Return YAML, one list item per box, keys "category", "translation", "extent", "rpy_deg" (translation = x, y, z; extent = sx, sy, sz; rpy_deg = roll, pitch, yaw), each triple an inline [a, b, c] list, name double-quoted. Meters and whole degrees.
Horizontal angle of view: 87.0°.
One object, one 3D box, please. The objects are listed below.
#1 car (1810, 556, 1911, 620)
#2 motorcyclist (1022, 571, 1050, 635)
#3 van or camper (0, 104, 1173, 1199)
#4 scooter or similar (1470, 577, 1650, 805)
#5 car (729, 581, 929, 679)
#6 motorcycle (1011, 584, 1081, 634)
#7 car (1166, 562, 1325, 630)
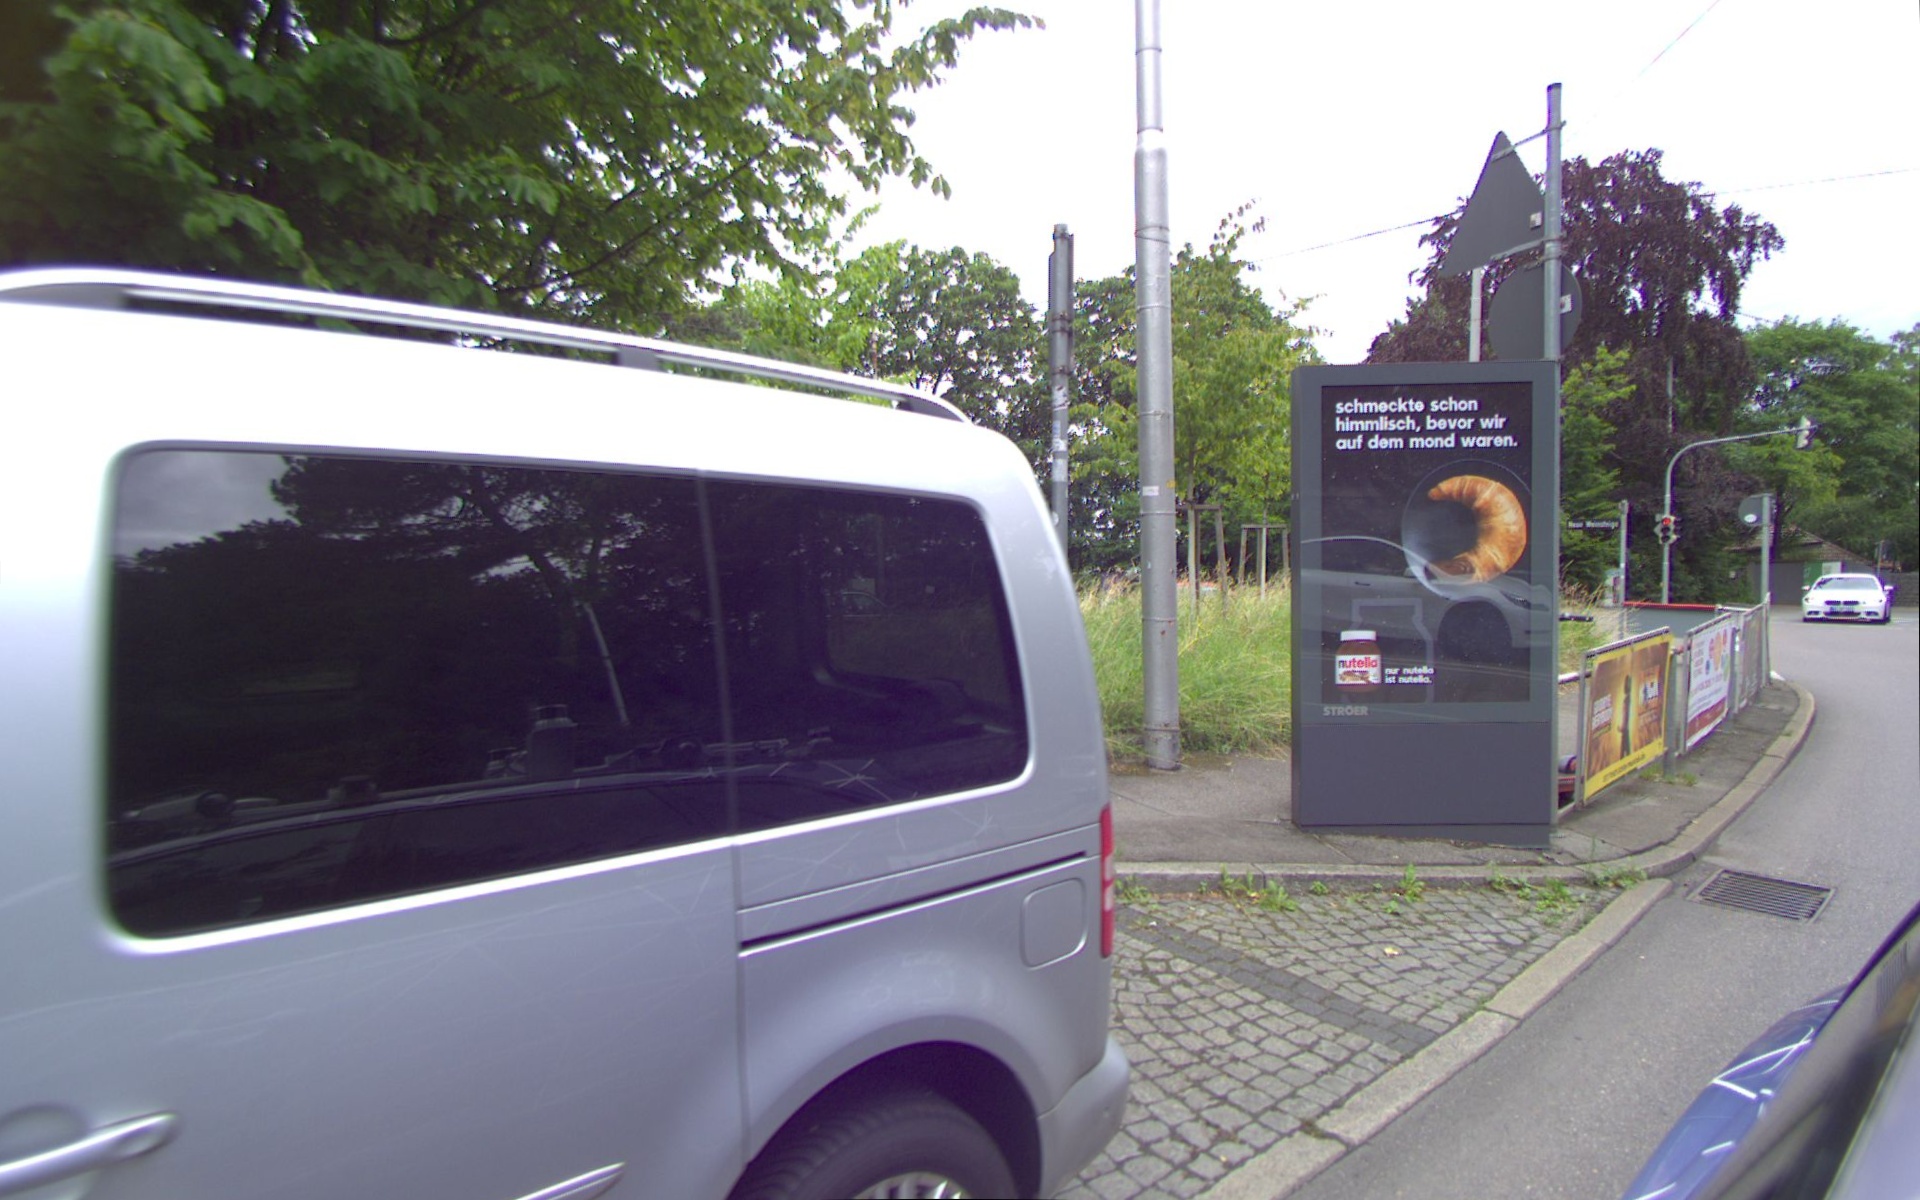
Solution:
- category: "car"
  translation: [26.769, -0.421, 30.033]
  extent: [4.709, 1.487, 1.821]
  rpy_deg: [-5, 9, -45]
- category: "motorcyclist"
  translation: [1.977, 0.068, 26.384]
  extent: [0.636, 1.623, 0.727]
  rpy_deg: [0, 2, -4]
- category: "van or camper"
  translation: [-1.750, 0.448, 1.403]
  extent: [4.164, 1.868, 1.703]
  rpy_deg: [-1, 2, -37]
- category: "scooter or similar"
  translation: [3.892, 0.512, 6.524]
  extent: [1.461, 1.304, 0.517]
  rpy_deg: [-1, 3, -41]
- category: "car"
  translation: [-2.793, 0.561, 22.091]
  extent: [3.933, 1.748, 1.923]
  rpy_deg: [-4, 4, -42]
- category: "motorcycle"
  translation: [2.237, 0.232, 26.328]
  extent: [1.714, 1.248, 0.727]
  rpy_deg: [0, 2, -3]
- category: "car"
  translation: [7.345, -0.119, 26.230]
  extent: [3.629, 1.522, 1.653]
  rpy_deg: [-2, 4, 0]
